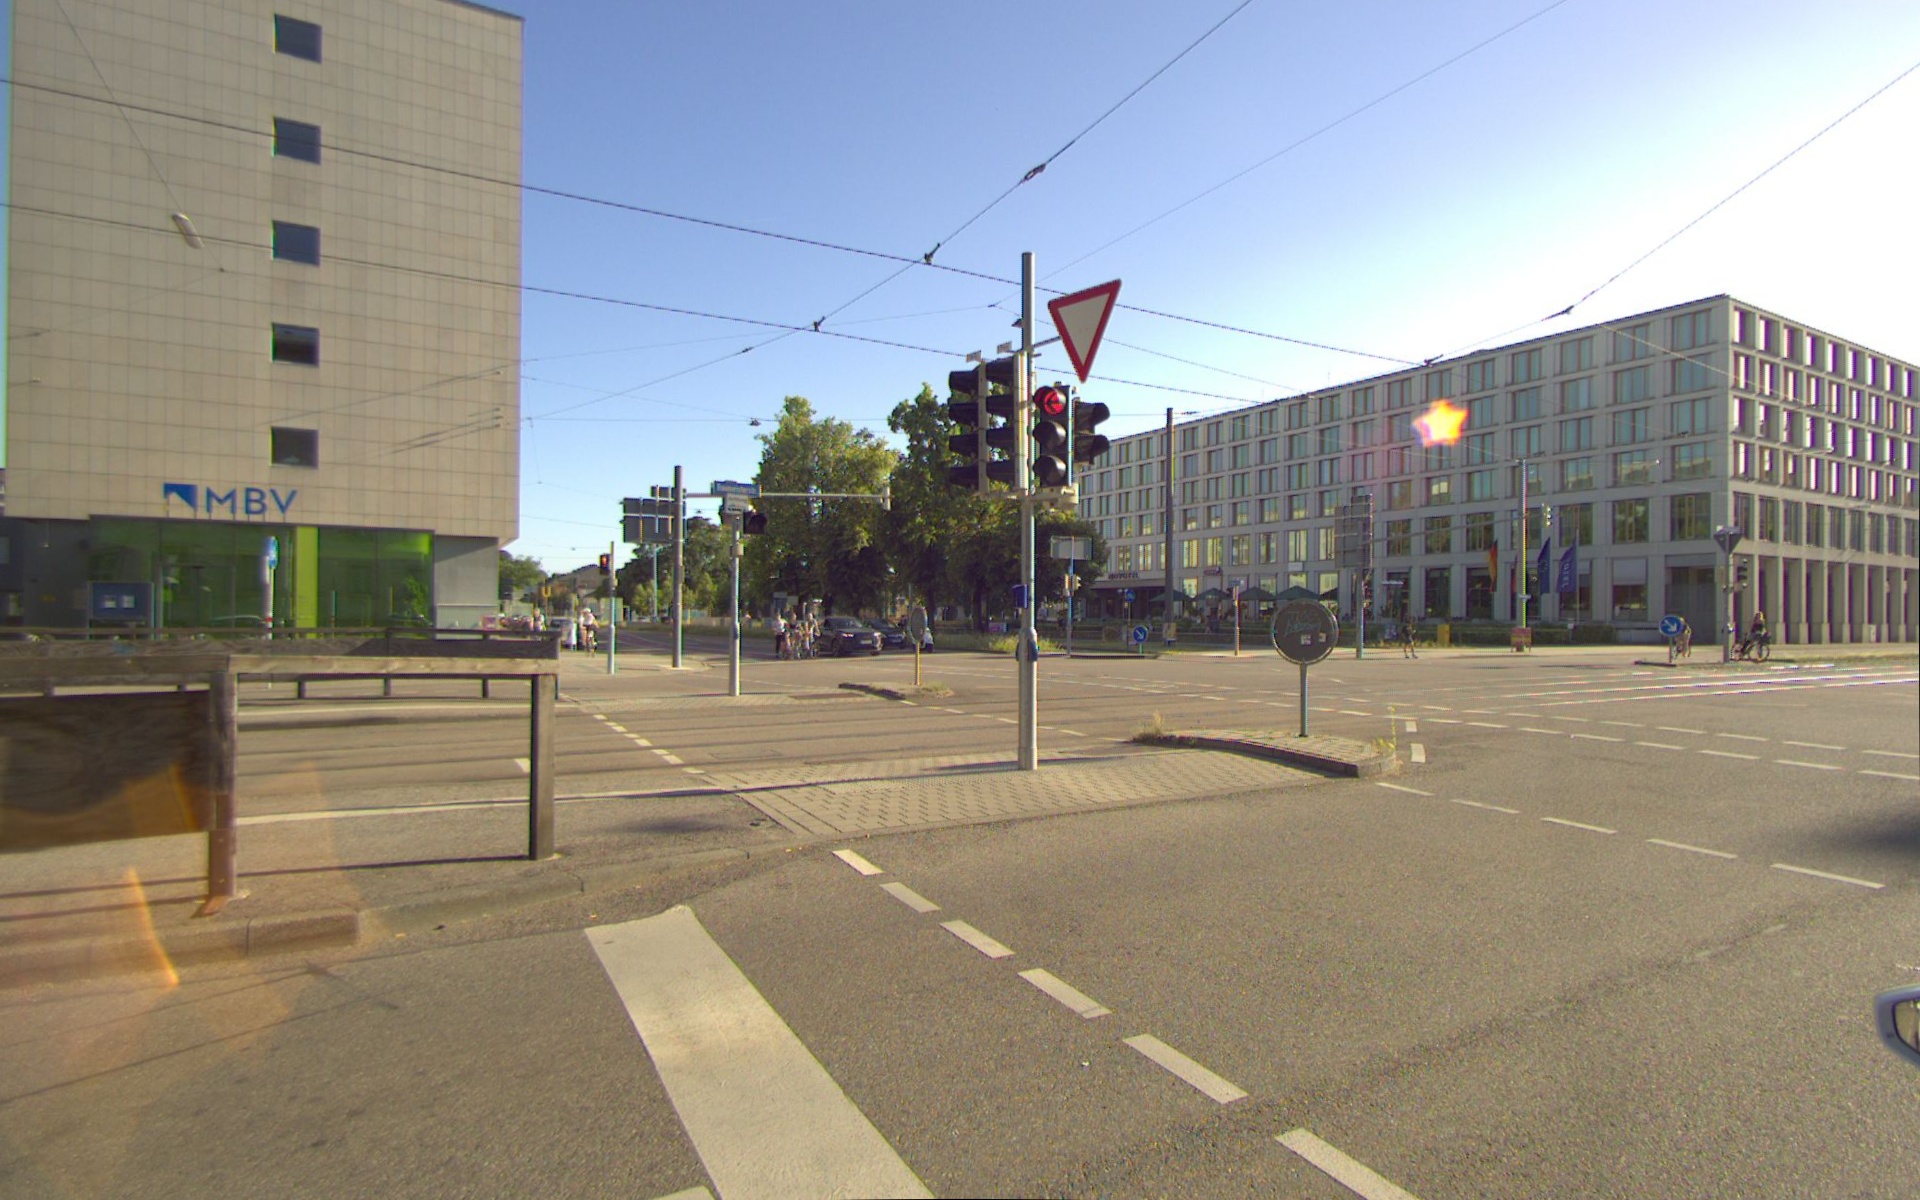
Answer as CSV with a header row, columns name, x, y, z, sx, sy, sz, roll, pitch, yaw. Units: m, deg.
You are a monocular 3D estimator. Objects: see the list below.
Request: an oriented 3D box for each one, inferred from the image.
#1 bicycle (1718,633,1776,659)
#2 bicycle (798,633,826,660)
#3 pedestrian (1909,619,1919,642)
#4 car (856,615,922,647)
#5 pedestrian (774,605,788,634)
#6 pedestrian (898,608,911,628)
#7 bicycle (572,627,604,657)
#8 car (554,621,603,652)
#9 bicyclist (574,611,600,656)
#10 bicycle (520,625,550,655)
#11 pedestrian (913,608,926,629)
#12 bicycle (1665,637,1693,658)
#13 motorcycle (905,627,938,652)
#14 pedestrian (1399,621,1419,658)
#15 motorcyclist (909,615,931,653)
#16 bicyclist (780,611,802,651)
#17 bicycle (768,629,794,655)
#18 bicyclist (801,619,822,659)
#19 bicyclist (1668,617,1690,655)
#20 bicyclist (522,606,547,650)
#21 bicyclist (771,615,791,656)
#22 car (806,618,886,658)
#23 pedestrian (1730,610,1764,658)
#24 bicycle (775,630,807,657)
name,x,y,z,sx,sy,sz,roll,pitch,yaw
bicycle,26.452,1.530,33.811,0.562,0.834,1.718,1,-1,-2
bicycle,-5.848,1.831,39.647,0.576,1.032,1.666,1,-1,-27
pedestrian,78.290,2.505,82.307,0.469,1.914,0.589,1,0,-3
car,-3.554,1.489,49.473,1.674,1.506,3.719,1,-1,-33
pedestrian,-12.710,1.409,71.411,0.772,2.040,0.747,1,-1,-31
pedestrian,-4.851,1.581,87.160,0.858,1.738,0.737,1,0,-26
bicycle,-13.631,1.507,36.743,0.802,1.047,2.111,1,-1,-28
car,-20.609,1.945,54.149,1.975,1.472,4.179,2,0,-28
bicyclist,-13.731,1.225,36.940,0.802,1.623,0.677,1,-1,-29
bicycle,-15.702,1.458,37.075,0.802,1.047,2.111,1,-1,-28
pedestrian,-3.485,1.617,86.984,0.858,1.738,0.737,1,0,-26
bicycle,29.568,1.937,41.318,1.141,0.850,0.492,1,-1,-28
motorcycle,-1.724,1.742,44.222,0.624,1.030,1.972,-4,1,-28
pedestrian,20.500,1.792,45.873,0.595,1.703,0.605,1,-1,-6
motorcyclist,-1.762,1.486,44.255,0.624,1.600,0.812,-4,1,-28
bicyclist,-6.615,1.214,39.285,0.577,1.563,0.833,1,-2,-32
bicycle,-7.397,1.728,41.439,0.576,1.032,1.666,1,-1,-27
bicyclist,-5.856,1.530,39.680,0.576,1.563,0.890,1,-1,-27
bicyclist,29.571,1.480,41.320,0.658,1.518,0.492,1,-1,-28
bicyclist,-15.730,1.026,37.141,0.802,1.623,0.677,1,-1,-29
bicyclist,-7.393,1.465,41.442,0.576,1.658,0.890,1,-1,-27
car,-4.816,1.564,41.954,1.925,1.561,3.969,2,-2,-29
pedestrian,26.457,1.134,33.780,0.562,1.616,0.744,0,-1,-2
bicycle,-6.618,1.692,39.288,0.577,1.032,1.806,1,-2,-31
